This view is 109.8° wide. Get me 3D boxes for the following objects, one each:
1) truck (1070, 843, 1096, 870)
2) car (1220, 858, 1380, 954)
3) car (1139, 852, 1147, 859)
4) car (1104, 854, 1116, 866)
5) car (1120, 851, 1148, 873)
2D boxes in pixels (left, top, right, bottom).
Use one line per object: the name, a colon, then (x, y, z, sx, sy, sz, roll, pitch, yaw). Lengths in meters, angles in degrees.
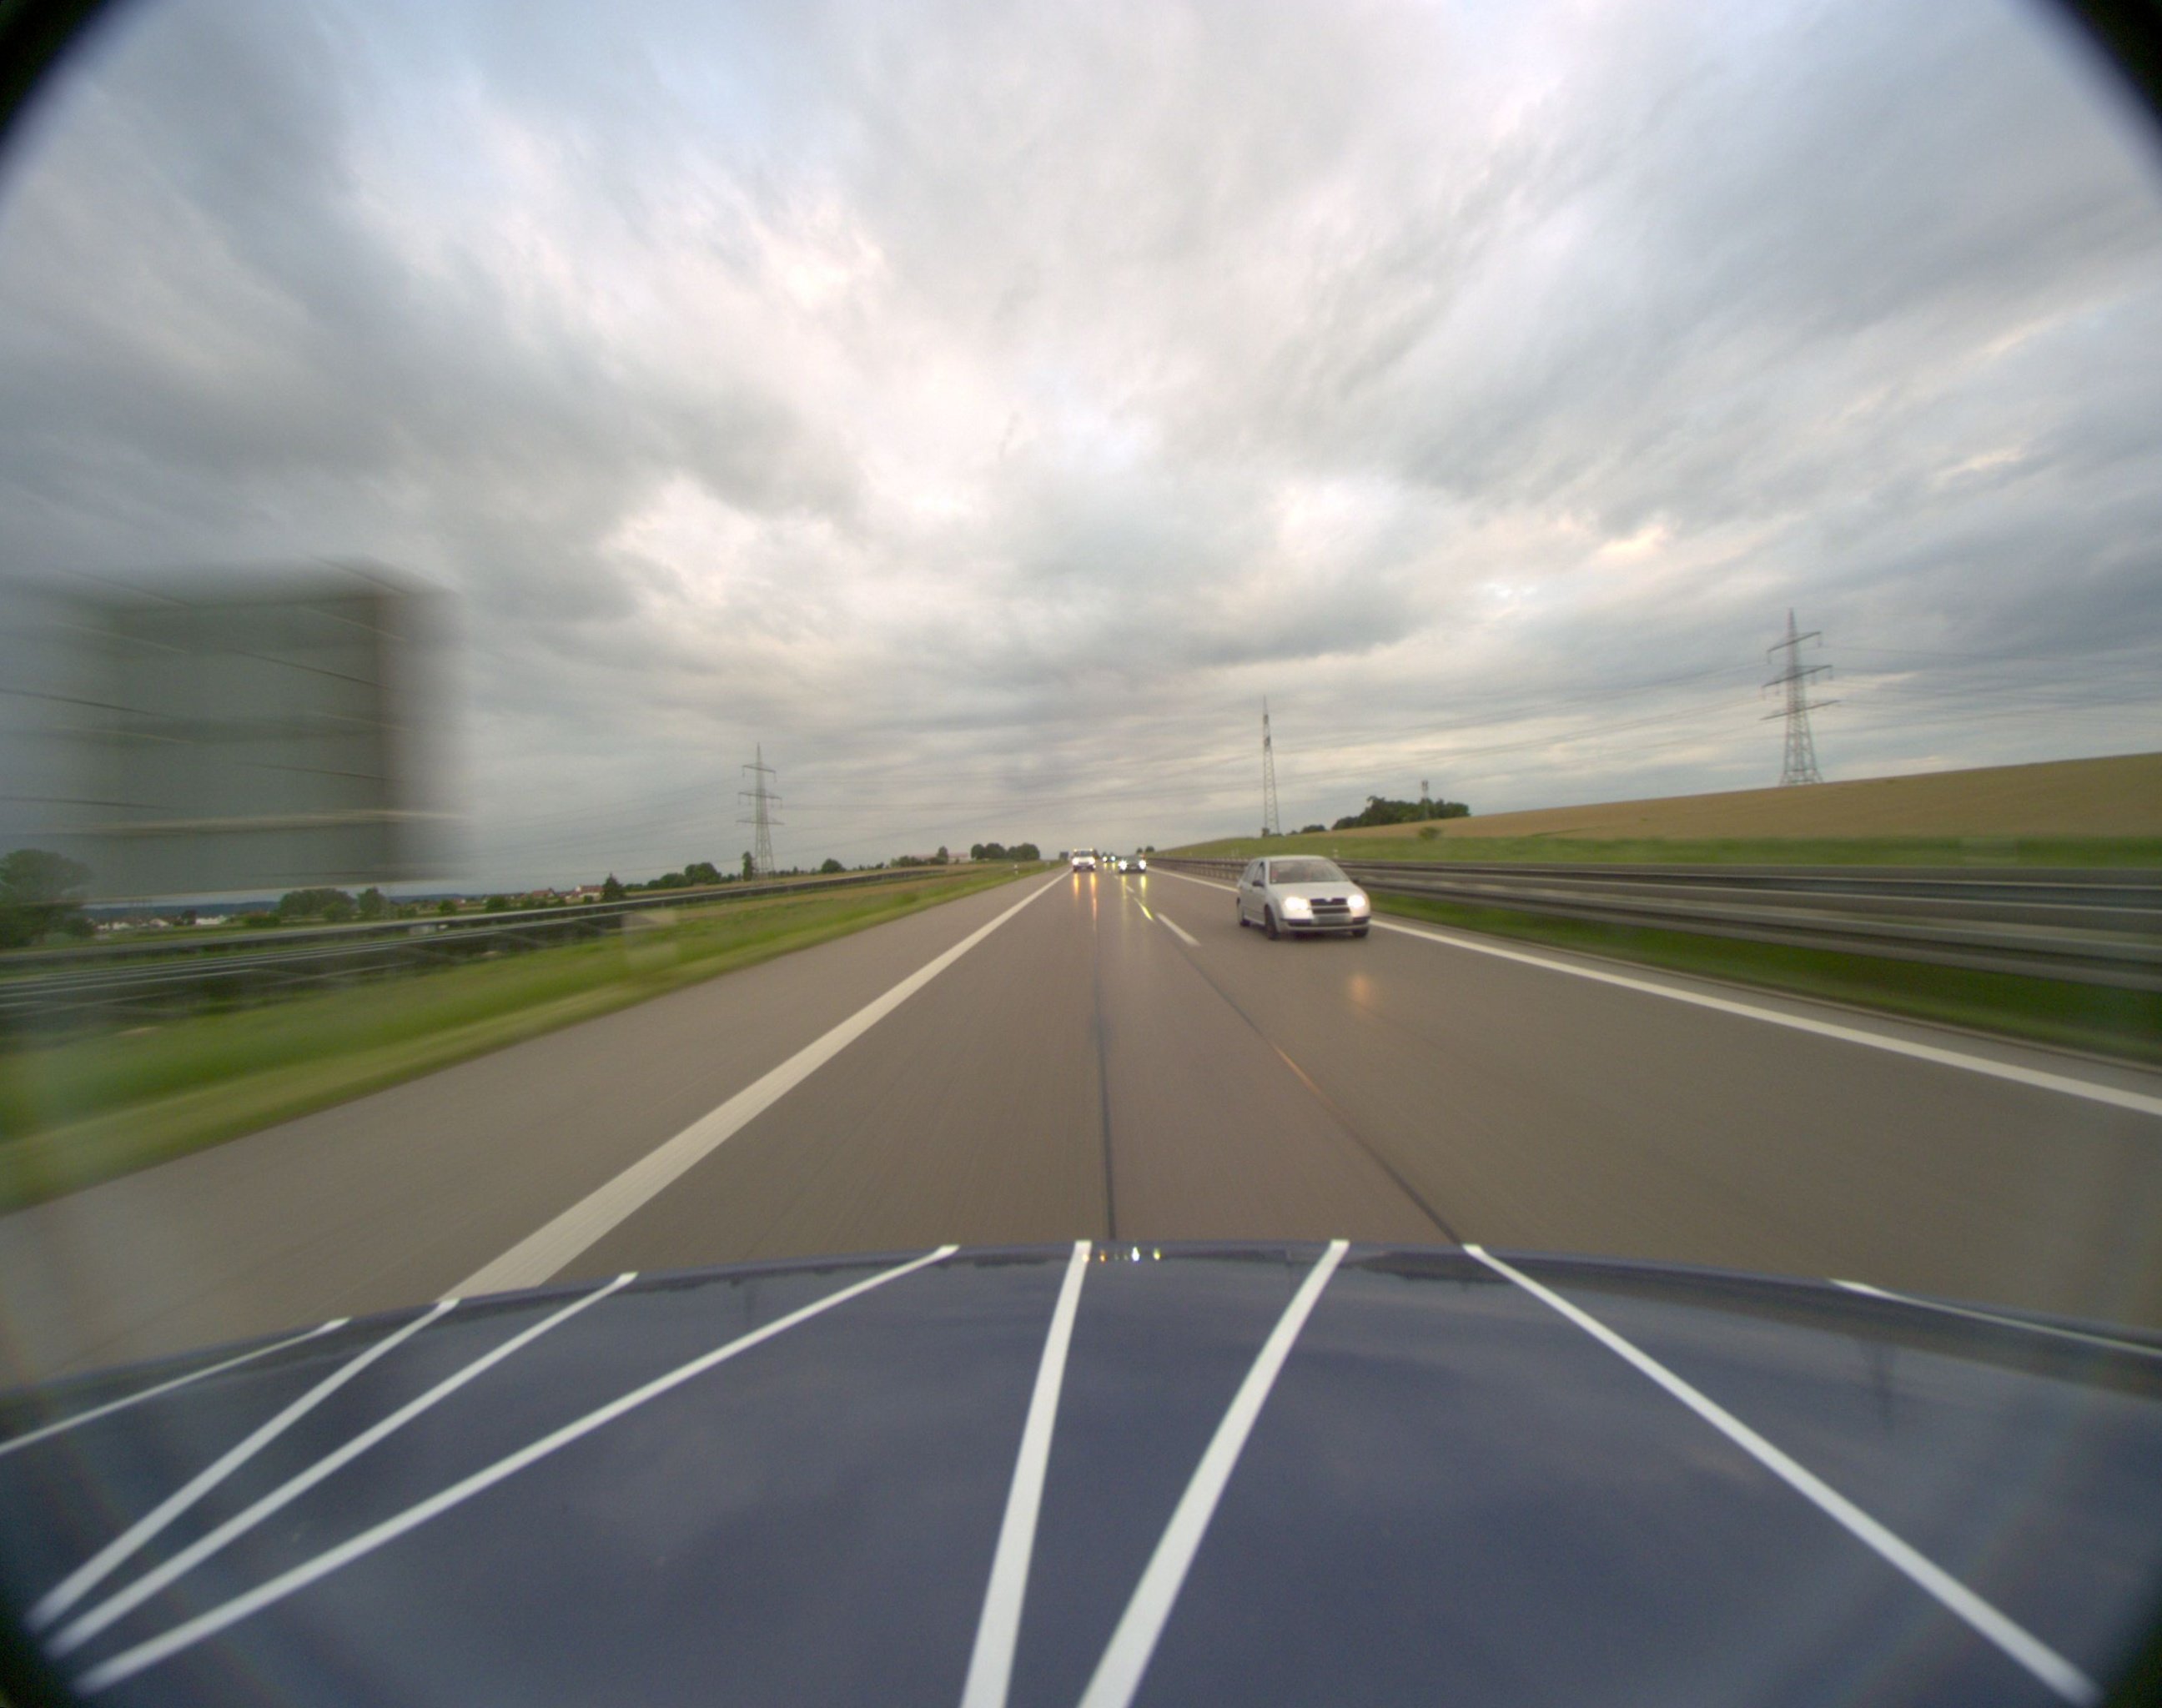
truck: (0.193, 0.217, 75.115, 2.177, 2.346, 7.696, -5, 0, 0)
car: (3.819, 0.822, 14.086, 1.592, 1.381, 4.601, -2, 0, 0)
car: (17.493, 0.470, 215.028, 1.795, 1.689, 4.590, -5, 0, 1)
car: (5.376, 1.067, 141.063, 1.999, 2.002, 4.461, -5, 0, -1)
car: (4.158, 0.611, 60.543, 1.951, 1.620, 4.536, -3, 0, 1)
